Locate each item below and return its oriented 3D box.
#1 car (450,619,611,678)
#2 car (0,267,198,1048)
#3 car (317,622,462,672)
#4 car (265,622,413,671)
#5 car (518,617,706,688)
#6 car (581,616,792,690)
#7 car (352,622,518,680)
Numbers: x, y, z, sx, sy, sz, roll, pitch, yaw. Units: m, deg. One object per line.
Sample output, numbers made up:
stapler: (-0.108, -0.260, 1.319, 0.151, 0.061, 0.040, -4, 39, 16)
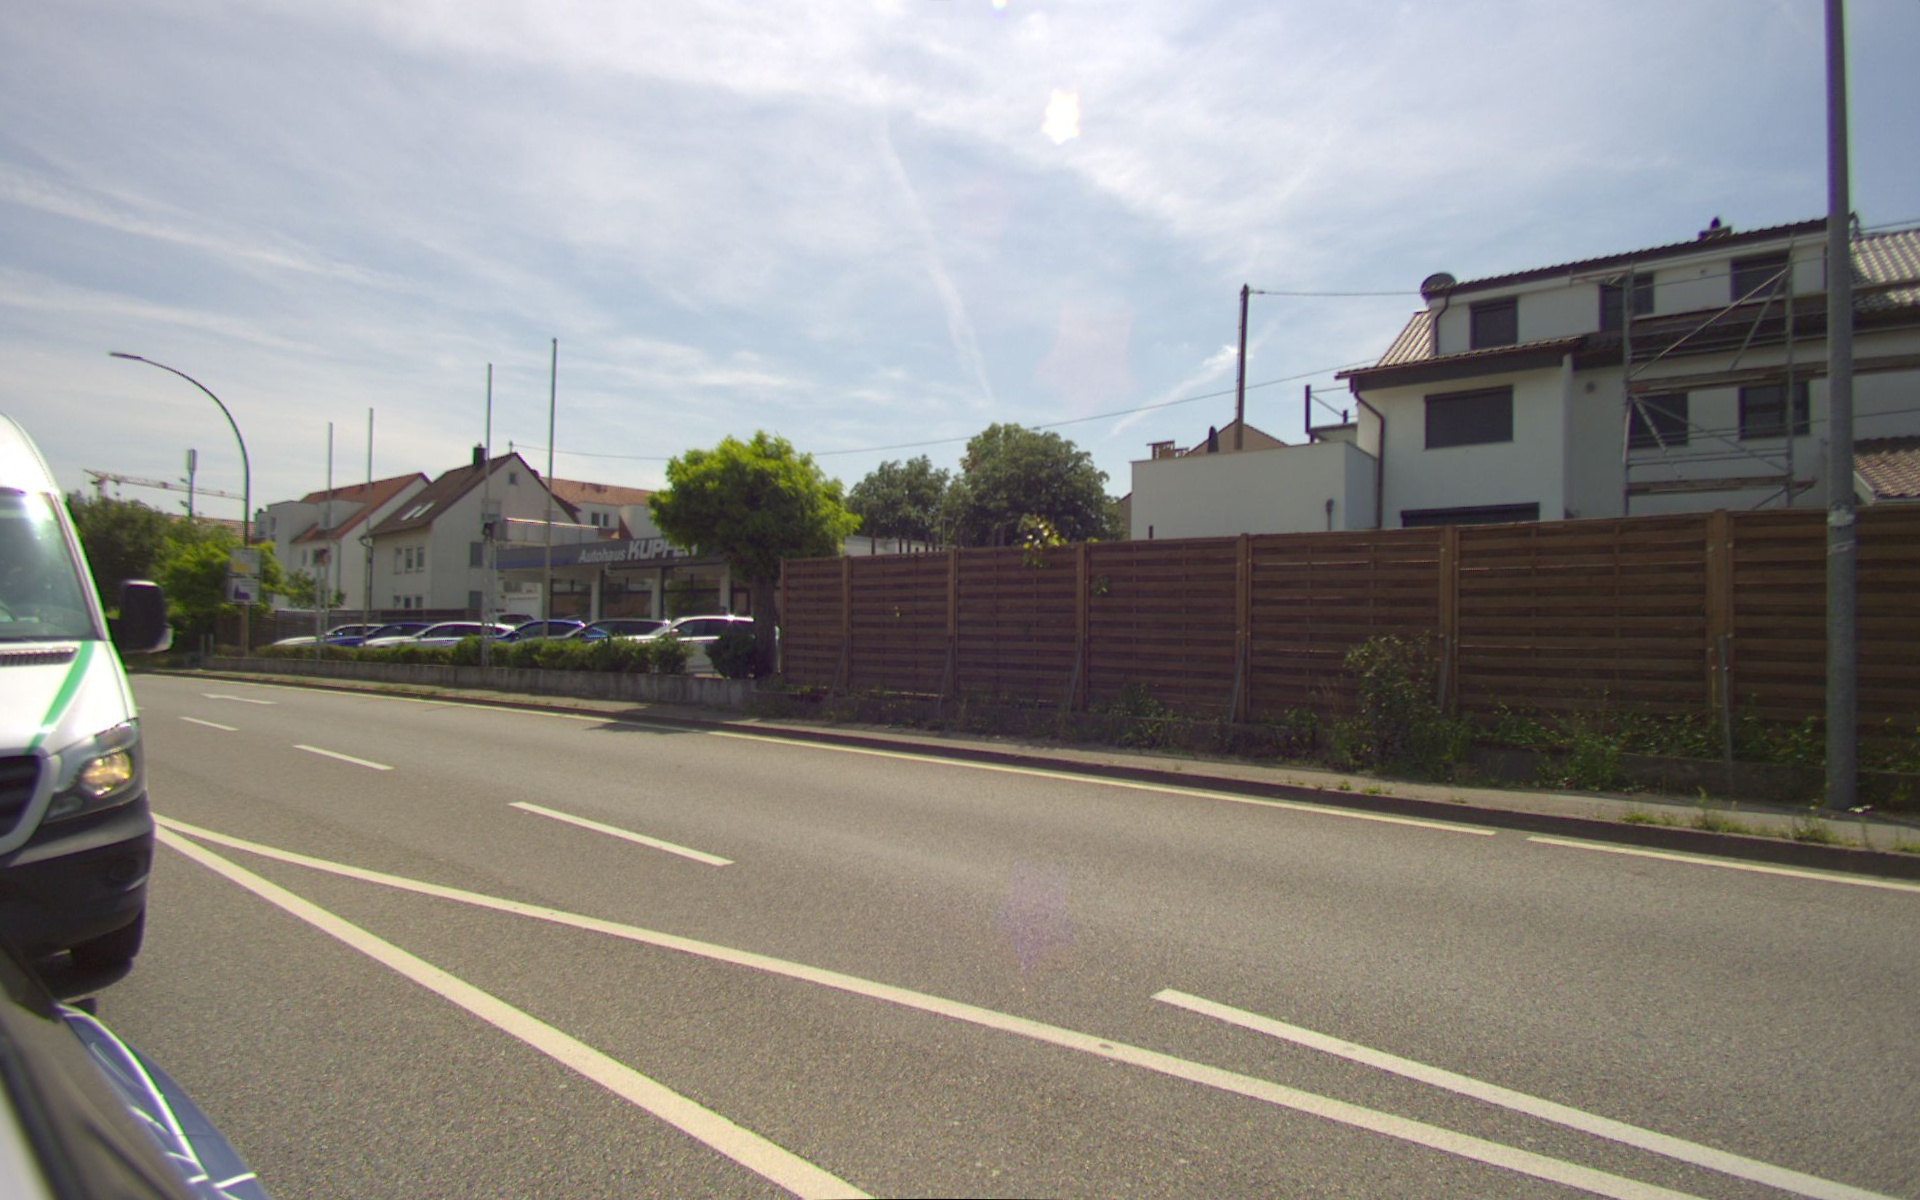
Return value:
car: (-11.722, 1.286, 27.706, 3.930, 1.453, 1.860, -1, -1, -25)
car: (-5.653, 0.256, 4.859, 5.629, 2.619, 1.953, -2, -1, 40)
car: (-18.520, 1.487, 33.076, 3.930, 1.475, 2.006, -1, -1, -24)
car: (-21.702, 1.590, 35.567, 4.192, 1.541, 2.006, -1, -1, -24)
car: (-8.673, 1.259, 25.238, 4.187, 1.557, 1.856, -1, -1, -27)
car: (-6.088, 1.128, 22.553, 4.264, 1.471, 1.861, 0, -1, -26)
car: (-15.491, 1.463, 30.126, 4.238, 1.530, 2.006, -1, -1, -23)
